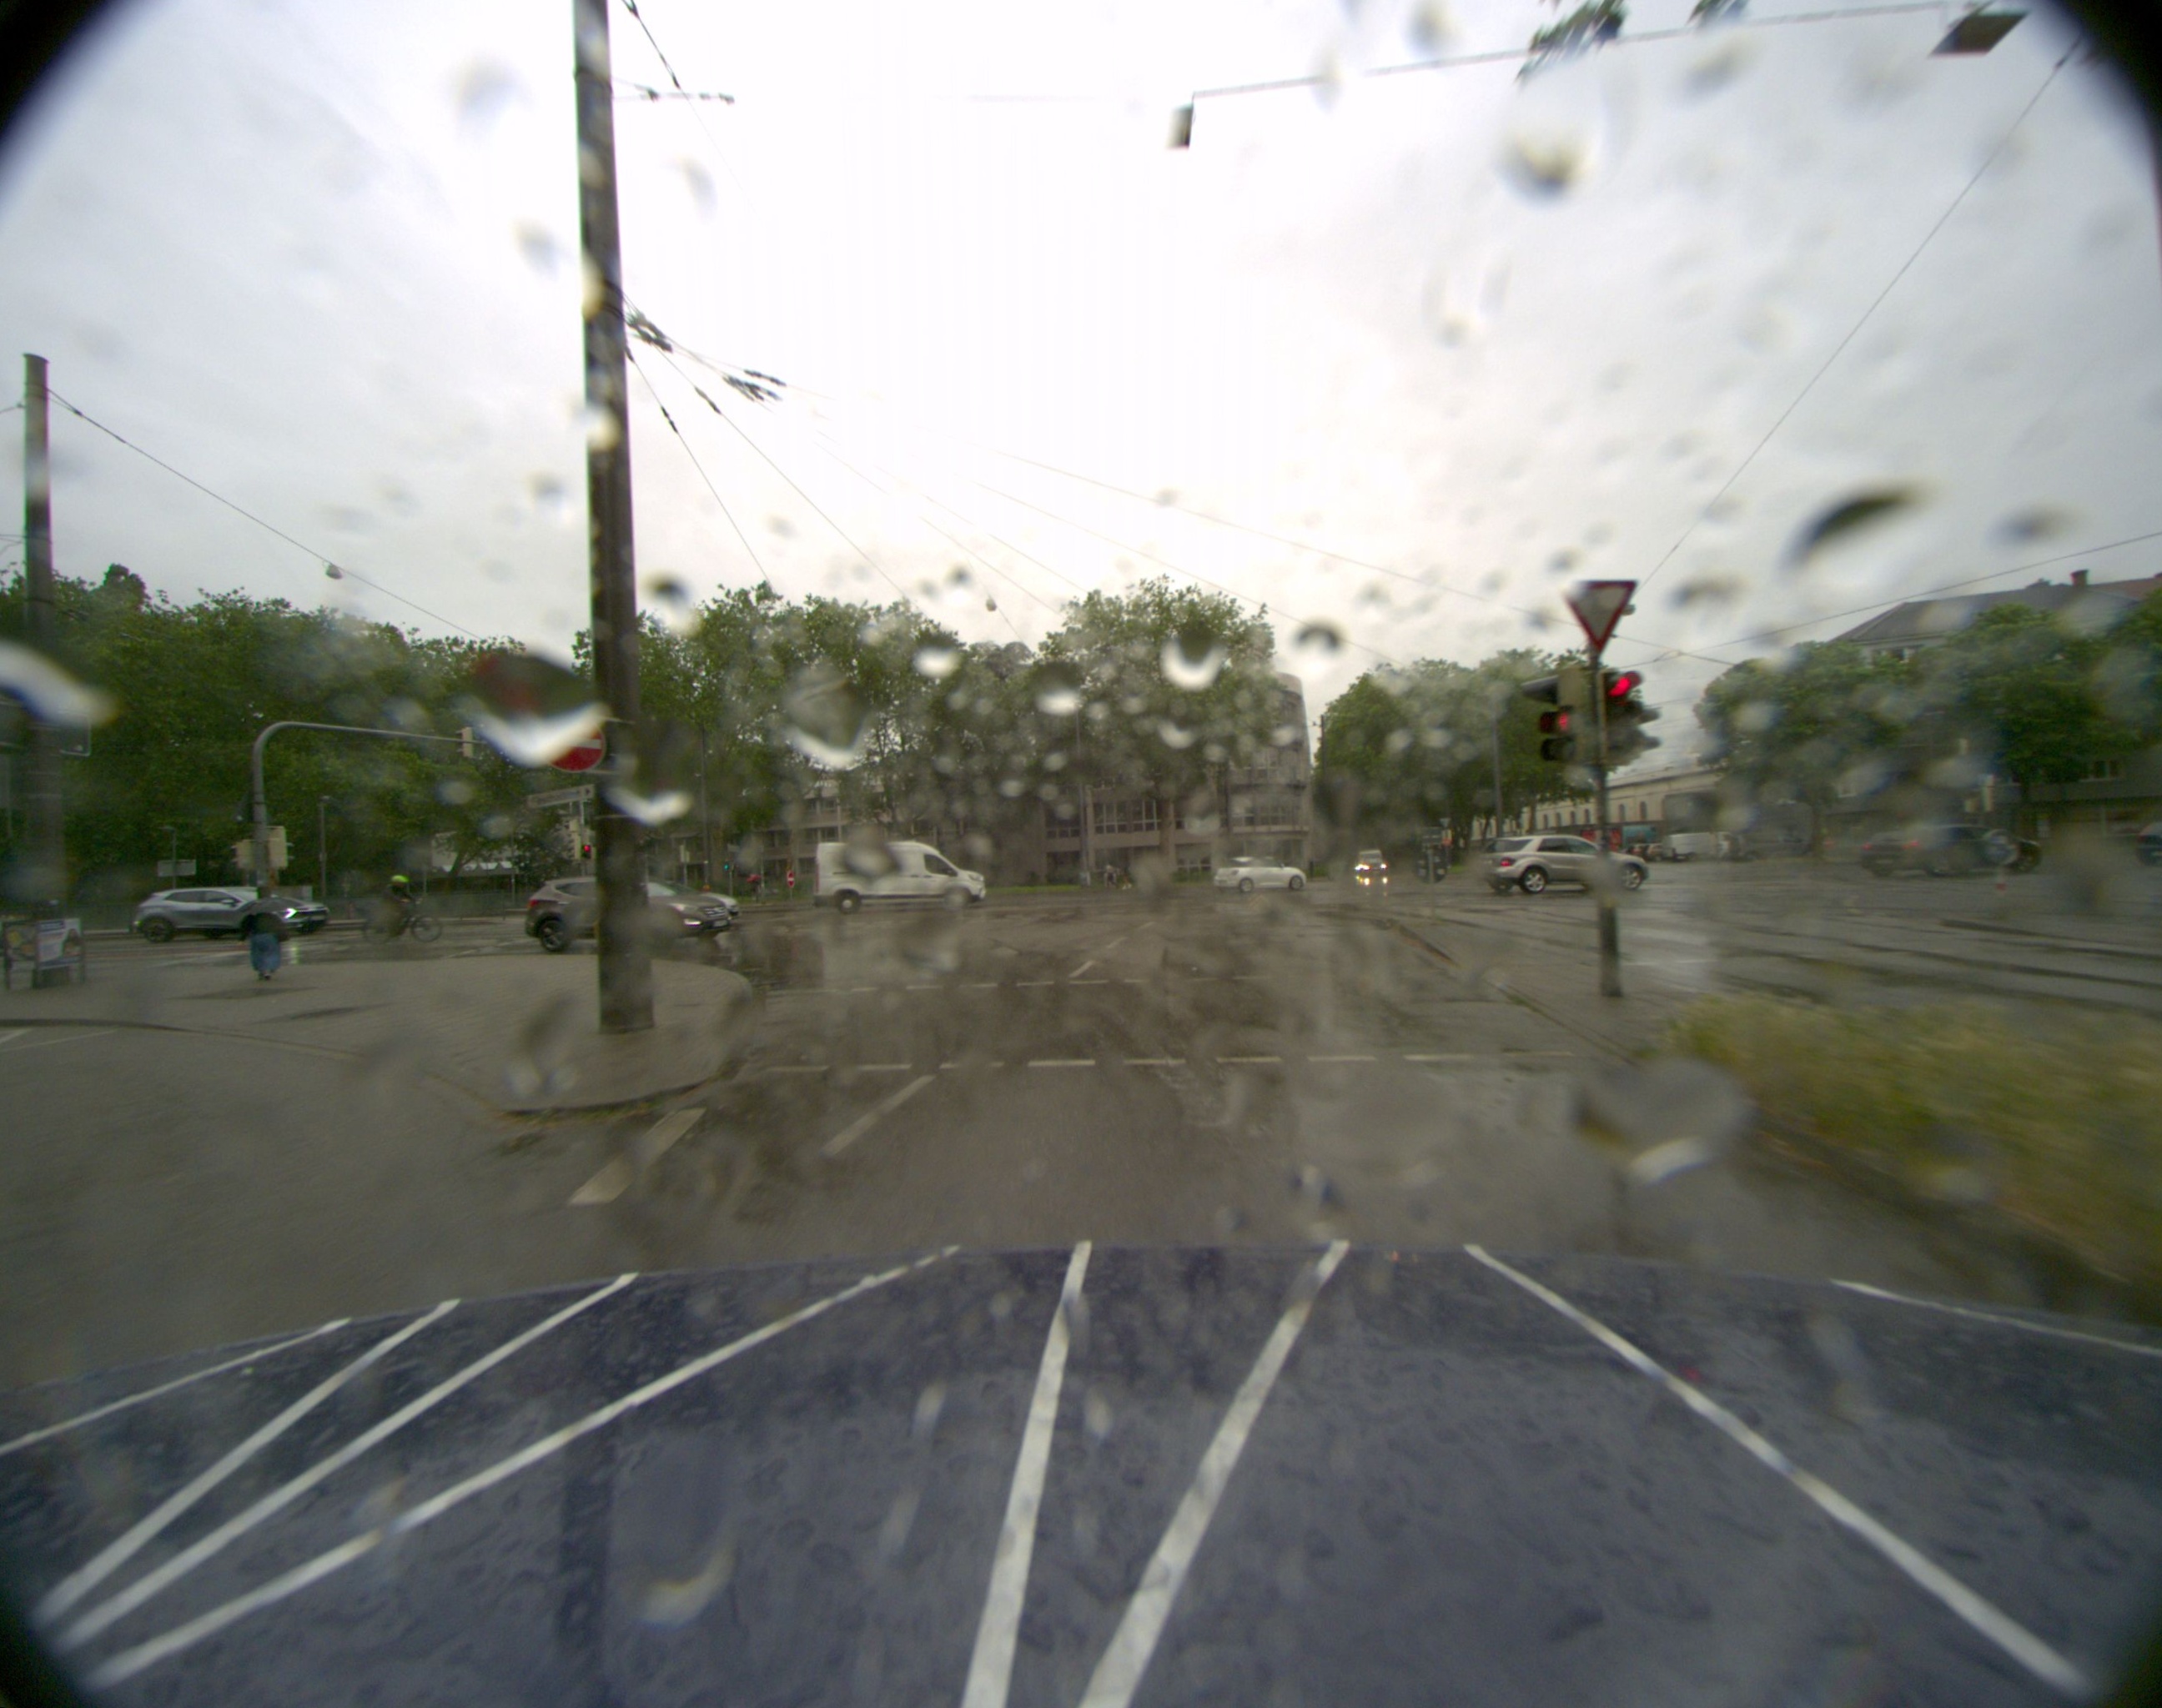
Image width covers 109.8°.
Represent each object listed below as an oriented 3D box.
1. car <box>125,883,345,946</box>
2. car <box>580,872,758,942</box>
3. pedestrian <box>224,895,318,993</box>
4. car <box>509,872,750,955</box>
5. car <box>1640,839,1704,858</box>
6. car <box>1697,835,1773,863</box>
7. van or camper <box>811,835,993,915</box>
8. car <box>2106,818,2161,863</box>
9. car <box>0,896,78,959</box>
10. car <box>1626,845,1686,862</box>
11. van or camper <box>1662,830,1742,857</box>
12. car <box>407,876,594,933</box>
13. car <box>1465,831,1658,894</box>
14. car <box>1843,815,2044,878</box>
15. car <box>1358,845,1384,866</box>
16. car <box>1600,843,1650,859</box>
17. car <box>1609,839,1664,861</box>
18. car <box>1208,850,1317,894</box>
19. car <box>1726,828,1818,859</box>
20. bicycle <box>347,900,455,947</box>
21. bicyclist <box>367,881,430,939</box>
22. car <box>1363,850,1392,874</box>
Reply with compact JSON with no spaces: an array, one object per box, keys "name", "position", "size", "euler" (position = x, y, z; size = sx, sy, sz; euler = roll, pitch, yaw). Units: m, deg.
[{"name":"car","position":[-26.963,1.883,24.380],"size":[4.556,1.650,1.786],"euler":[-3,0,-9]},{"name":"car","position":[-12.348,1.540,23.066],"size":[4.267,1.731,1.975],"euler":[-3,1,-9]},{"name":"pedestrian","position":[-15.194,1.638,14.290],"size":[0.995,1.657,1.108],"euler":[-2,1,44]},{"name":"car","position":[-10.679,1.385,18.141],"size":[4.674,1.637,1.915],"euler":[-3,1,7]},{"name":"car","position":[52.198,-0.451,67.216],"size":[3.991,1.604,2.003],"euler":[0,0,17]},{"name":"car","position":[50.992,-0.375,59.331],"size":[3.994,2.002,2.001],"euler":[-3,0,9]},{"name":"van or camper","position":[-6.294,0.698,27.116],"size":[5.972,2.456,2.180],"euler":[-3,0,-12]},{"name":"car","position":[36.425,-0.429,24.615],"size":[3.828,1.450,1.889],"euler":[0,0,1]},{"name":"car","position":[-31.228,2.116,20.446],"size":[5.334,1.583,1.948],"euler":[-3,-1,-6]},{"name":"car","position":[54.056,-0.019,71.510],"size":[3.991,1.604,2.003],"euler":[0,0,17]},{"name":"van or camper","position":[50.844,-0.849,62.326],"size":[4.646,2.063,2.002],"euler":[-1,0,16]},{"name":"car","position":[-19.134,1.639,25.226],"size":[4.556,1.504,1.786],"euler":[-3,1,-9]},{"name":"car","position":[14.659,0.244,23.365],"size":[4.676,1.637,1.914],"euler":[-3,1,1]},{"name":"car","position":[27.053,-0.227,23.949],"size":[4.187,1.699,1.807],"euler":[-3,1,1]},{"name":"car","position":[26.067,0.094,68.379],"size":[2.001,1.761,4.005],"euler":[-2,0,19]},{"name":"car","position":[57.294,-0.296,80.086],"size":[3.990,1.646,1.789],"euler":[-1,1,22]},{"name":"car","position":[54.402,-0.368,74.459],"size":[3.990,1.918,2.003],"euler":[-2,1,26]},{"name":"car","position":[7.619,0.749,31.950],"size":[4.077,1.578,1.805],"euler":[-3,0,-20]},{"name":"car","position":[49.288,-0.750,54.310],"size":[4.387,2.002,2.070],"euler":[-2,1,23]},{"name":"bicycle","position":[-18.133,1.853,20.301],"size":[1.997,1.082,0.818],"euler":[-2,2,-5]},{"name":"bicyclist","position":[-18.233,1.486,20.325],"size":[0.805,1.461,0.927],"euler":[-1,2,-6]},{"name":"car","position":[24.197,0.637,61.878],"size":[1.799,1.761,4.006],"euler":[-4,-1,25]}]
